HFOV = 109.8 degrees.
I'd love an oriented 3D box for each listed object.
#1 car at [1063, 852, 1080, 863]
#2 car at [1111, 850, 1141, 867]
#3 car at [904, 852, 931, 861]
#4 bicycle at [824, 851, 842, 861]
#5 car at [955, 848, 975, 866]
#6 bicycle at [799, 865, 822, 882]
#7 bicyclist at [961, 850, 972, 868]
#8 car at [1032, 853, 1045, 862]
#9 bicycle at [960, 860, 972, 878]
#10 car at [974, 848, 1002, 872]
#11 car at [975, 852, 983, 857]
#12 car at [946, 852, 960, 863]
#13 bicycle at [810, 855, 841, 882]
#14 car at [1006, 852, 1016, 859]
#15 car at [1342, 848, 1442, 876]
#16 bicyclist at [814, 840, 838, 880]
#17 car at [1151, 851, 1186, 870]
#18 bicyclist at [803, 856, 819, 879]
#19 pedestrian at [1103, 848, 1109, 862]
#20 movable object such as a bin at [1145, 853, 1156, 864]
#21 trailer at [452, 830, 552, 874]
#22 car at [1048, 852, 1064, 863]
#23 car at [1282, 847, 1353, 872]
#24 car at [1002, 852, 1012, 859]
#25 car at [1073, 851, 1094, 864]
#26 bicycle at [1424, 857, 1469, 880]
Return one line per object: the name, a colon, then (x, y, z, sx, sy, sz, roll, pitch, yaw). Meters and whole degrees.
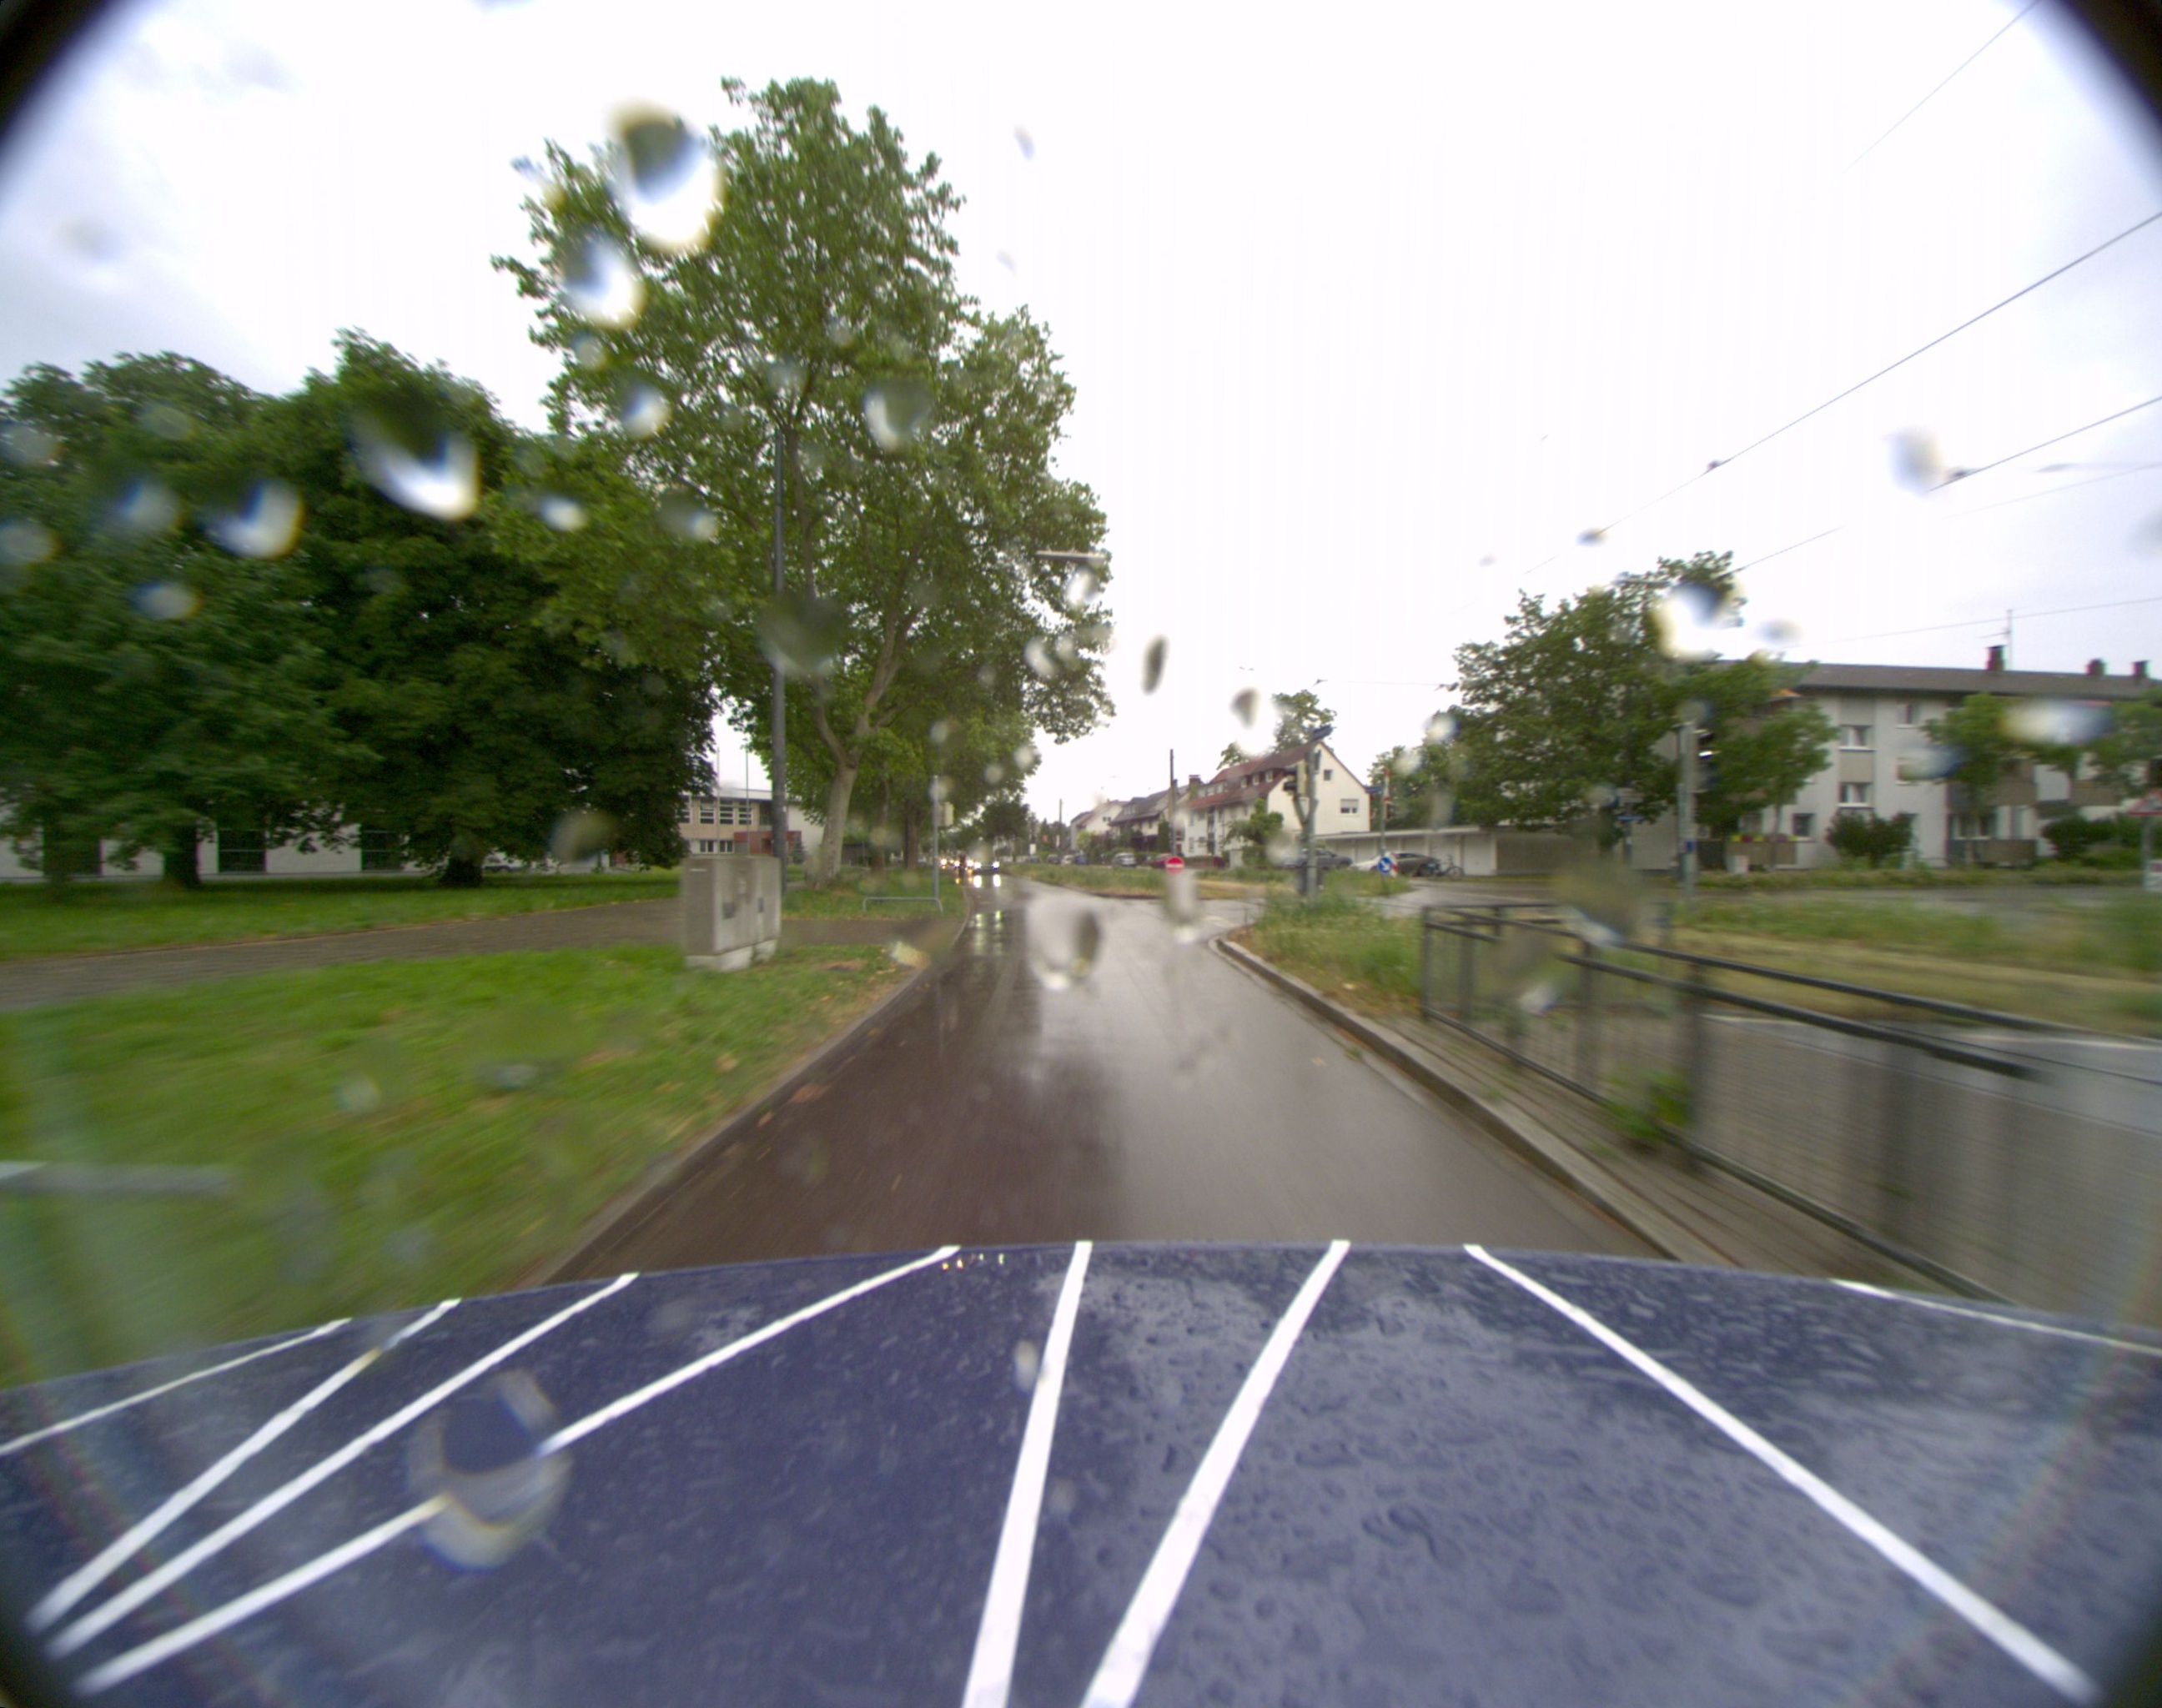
car: (-1.369, 0.488, 109.380, 1.719, 1.520, 3.597, -4, 1, -12)
car: (4.667, 0.453, 79.854, 2.000, 1.604, 4.679, -2, 1, -10)
car: (-26.551, 0.383, 123.519, 4.023, 1.478, 1.635, 0, 0, -31)
bicycle: (-27.867, 0.268, 85.419, 0.520, 1.115, 1.942, 2, 1, 32)
car: (-12.110, 0.278, 79.385, 1.769, 1.715, 3.929, -2, 1, -12)
bicycle: (-11.941, 0.851, 33.606, 0.488, 0.704, 1.457, 0, 1, -1)
bicyclist: (-6.925, 0.297, 45.856, 0.622, 1.078, 0.624, 0, 1, -8)
car: (-7.787, 0.651, 138.273, 1.760, 1.507, 3.850, -3, 1, -11)
bicycle: (-6.931, 0.919, 45.918, 0.659, 1.008, 2.255, 0, 1, -8)
car: (-7.185, 0.486, 58.587, 1.769, 1.715, 3.931, -3, 0, -11)
car: (-30.776, 0.229, 229.195, 1.760, 1.507, 3.850, -3, 1, -11)
car: (-20.116, 0.498, 119.260, 1.769, 1.715, 3.929, 0, 1, -13)
bicycle: (-11.072, 0.633, 32.999, 0.713, 1.136, 1.972, 0, 0, -1)
car: (-15.871, 0.405, 171.064, 1.760, 1.507, 3.850, -3, 1, -11)
car: (16.851, 0.417, 41.278, 4.741, 1.357, 1.846, -2, 1, -9)
bicyclist: (-11.063, 0.264, 33.006, 0.713, 1.711, 0.957, 0, 0, -1)
car: (7.656, 0.530, 66.726, 1.848, 1.538, 3.969, -3, 1, -10)
bicyclist: (-11.944, 0.593, 33.582, 0.488, 1.032, 0.591, 0, 1, -1)
pedestrian: (3.298, 0.163, 99.735, 0.600, 1.757, 0.868, -2, 1, -11)
movable object such as a bin: (8.156, 0.561, 89.276, 1.188, 1.290, 0.738, -2, 1, -10)
trailer: (-31.596, -0.114, 41.532, 1.886, 2.295, 4.029, 0, 0, 39)
car: (-3.952, 0.537, 121.235, 1.760, 1.604, 4.106, -3, 1, -11)
car: (15.339, 0.322, 49.385, 4.001, 1.567, 1.890, 0, 0, -12)
car: (-17.168, 0.387, 175.443, 1.760, 1.507, 3.850, -3, 1, -11)
car: (0.289, 0.422, 102.263, 1.850, 1.696, 4.177, -2, 1, -13)
bicycle: (17.048, 0.686, 35.491, 0.483, 1.013, 1.837, -5, 2, -35)
